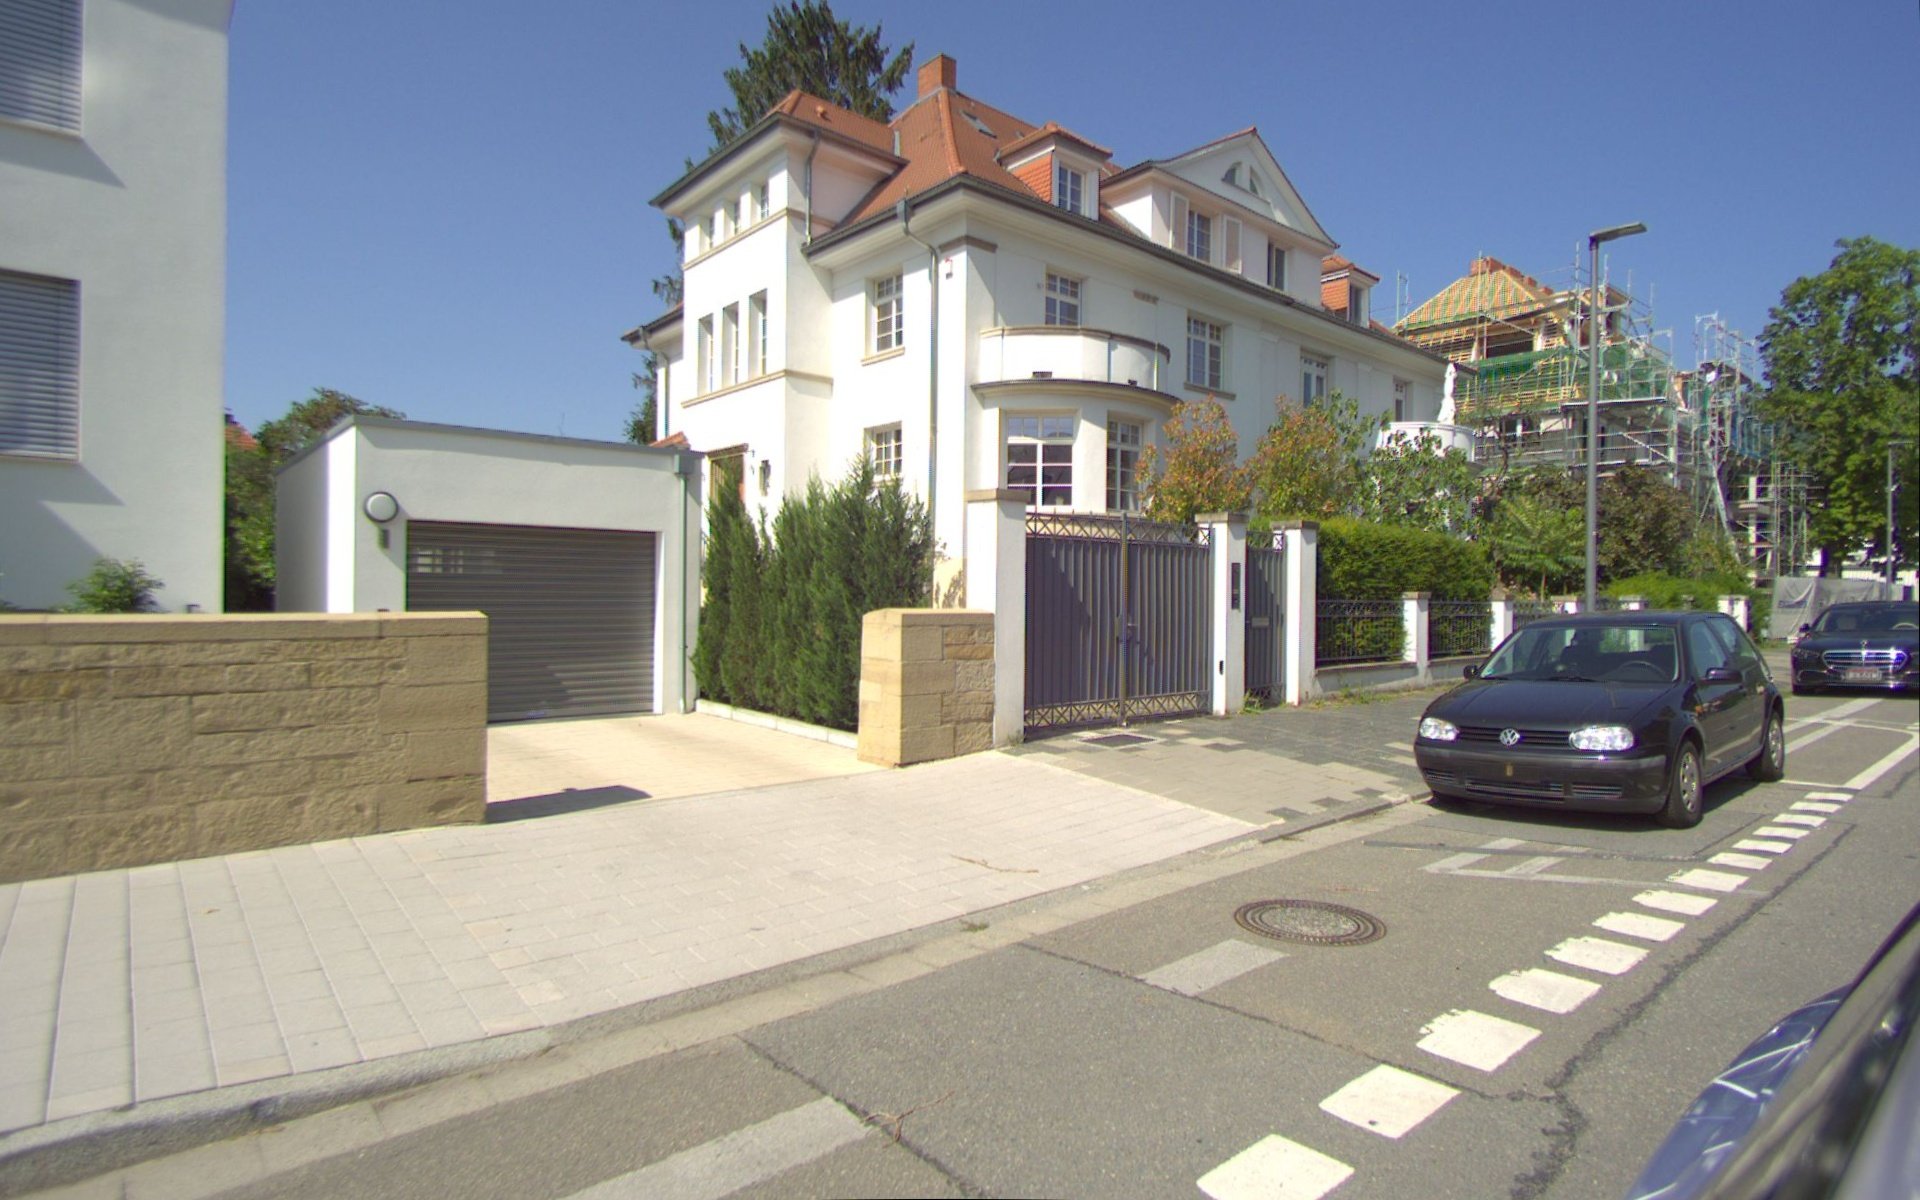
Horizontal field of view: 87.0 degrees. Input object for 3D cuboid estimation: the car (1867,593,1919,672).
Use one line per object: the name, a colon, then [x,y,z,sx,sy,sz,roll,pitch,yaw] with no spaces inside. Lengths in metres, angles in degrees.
car: [19.611,0.601,20.282,3.721,1.494,1.659,0,-2,-41]

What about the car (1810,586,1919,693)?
car: [15.784,0.588,17.023,4.819,1.603,1.697,0,-2,-44]

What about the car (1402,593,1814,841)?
car: [5.249,0.715,7.996,3.929,1.468,1.622,-1,-1,-40]
